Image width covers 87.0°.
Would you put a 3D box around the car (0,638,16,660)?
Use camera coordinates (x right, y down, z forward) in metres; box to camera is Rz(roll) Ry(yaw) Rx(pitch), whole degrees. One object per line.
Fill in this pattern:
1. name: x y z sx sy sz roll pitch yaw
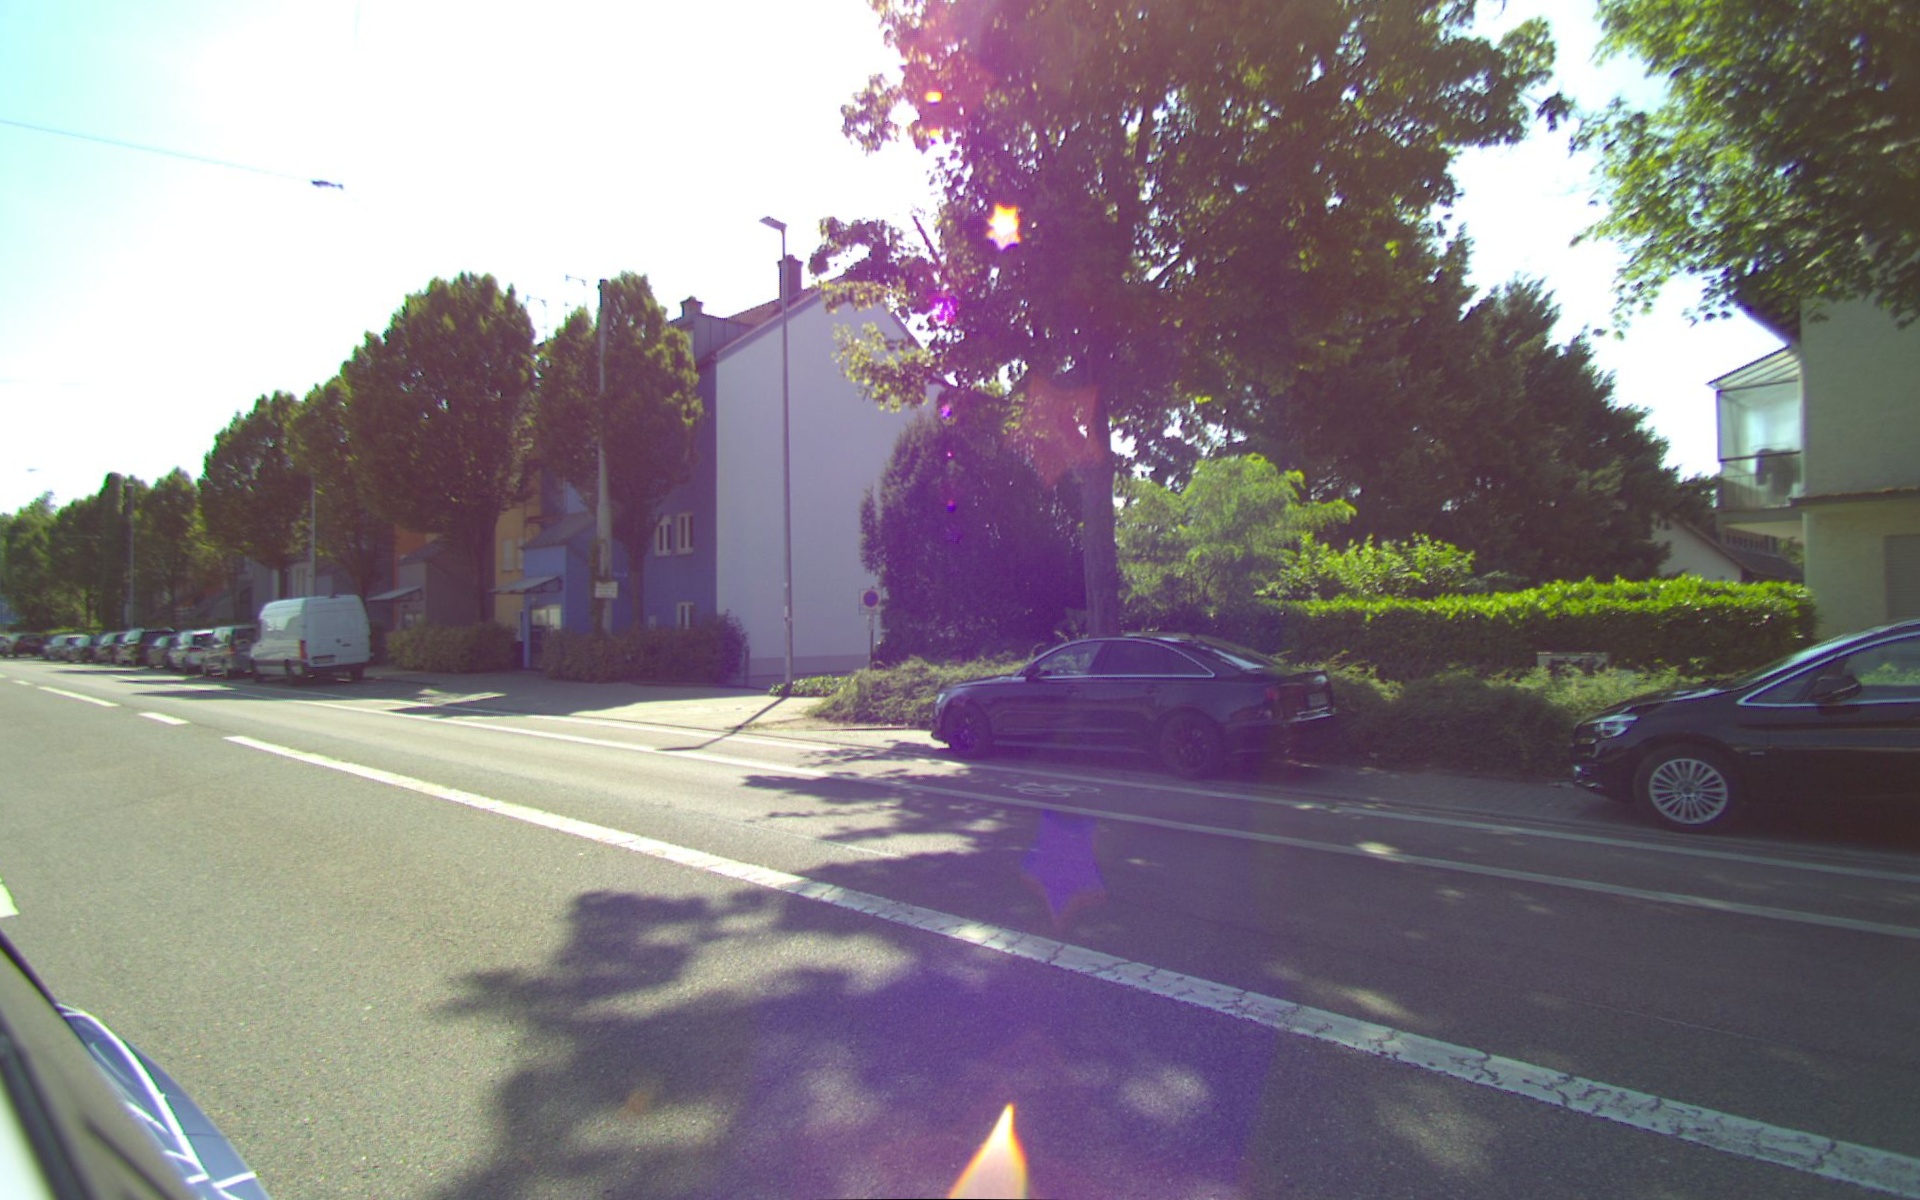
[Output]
1. car: -68.328 3.462 71.215 4.124 1.510 2.016 -2 0 36

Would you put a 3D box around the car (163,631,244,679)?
1. car: -31.067 2.209 41.525 4.540 1.715 1.828 -1 2 43

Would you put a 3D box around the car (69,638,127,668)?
1. car: -47.424 2.884 55.645 4.209 1.481 1.660 -2 0 39

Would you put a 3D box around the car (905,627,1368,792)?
1. car: 1.805 1.075 11.456 4.905 1.477 1.822 -2 -2 39

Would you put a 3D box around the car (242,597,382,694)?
1. car: -20.794 1.400 32.301 7.086 2.697 1.972 -2 1 43

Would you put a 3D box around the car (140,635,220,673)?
1. car: -34.893 2.371 45.247 4.071 1.466 1.848 -2 2 39

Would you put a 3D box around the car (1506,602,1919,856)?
1. car: 6.772 0.825 7.088 4.892 1.618 1.743 -2 -1 42

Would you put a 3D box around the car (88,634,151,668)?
1. car: -42.950 2.580 51.697 4.161 1.619 1.660 -2 0 39

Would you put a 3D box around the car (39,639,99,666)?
1. car: -52.834 3.098 59.995 4.828 1.457 1.662 -2 0 36

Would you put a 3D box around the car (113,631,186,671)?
1. car: -38.734 2.384 48.332 4.345 1.741 1.812 -2 0 39

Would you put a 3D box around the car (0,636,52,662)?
1. car: -61.869 3.221 66.795 4.922 1.588 1.888 -2 0 36

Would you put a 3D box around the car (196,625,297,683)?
1. car: -26.673 1.978 37.750 4.966 1.879 1.973 -2 2 42
